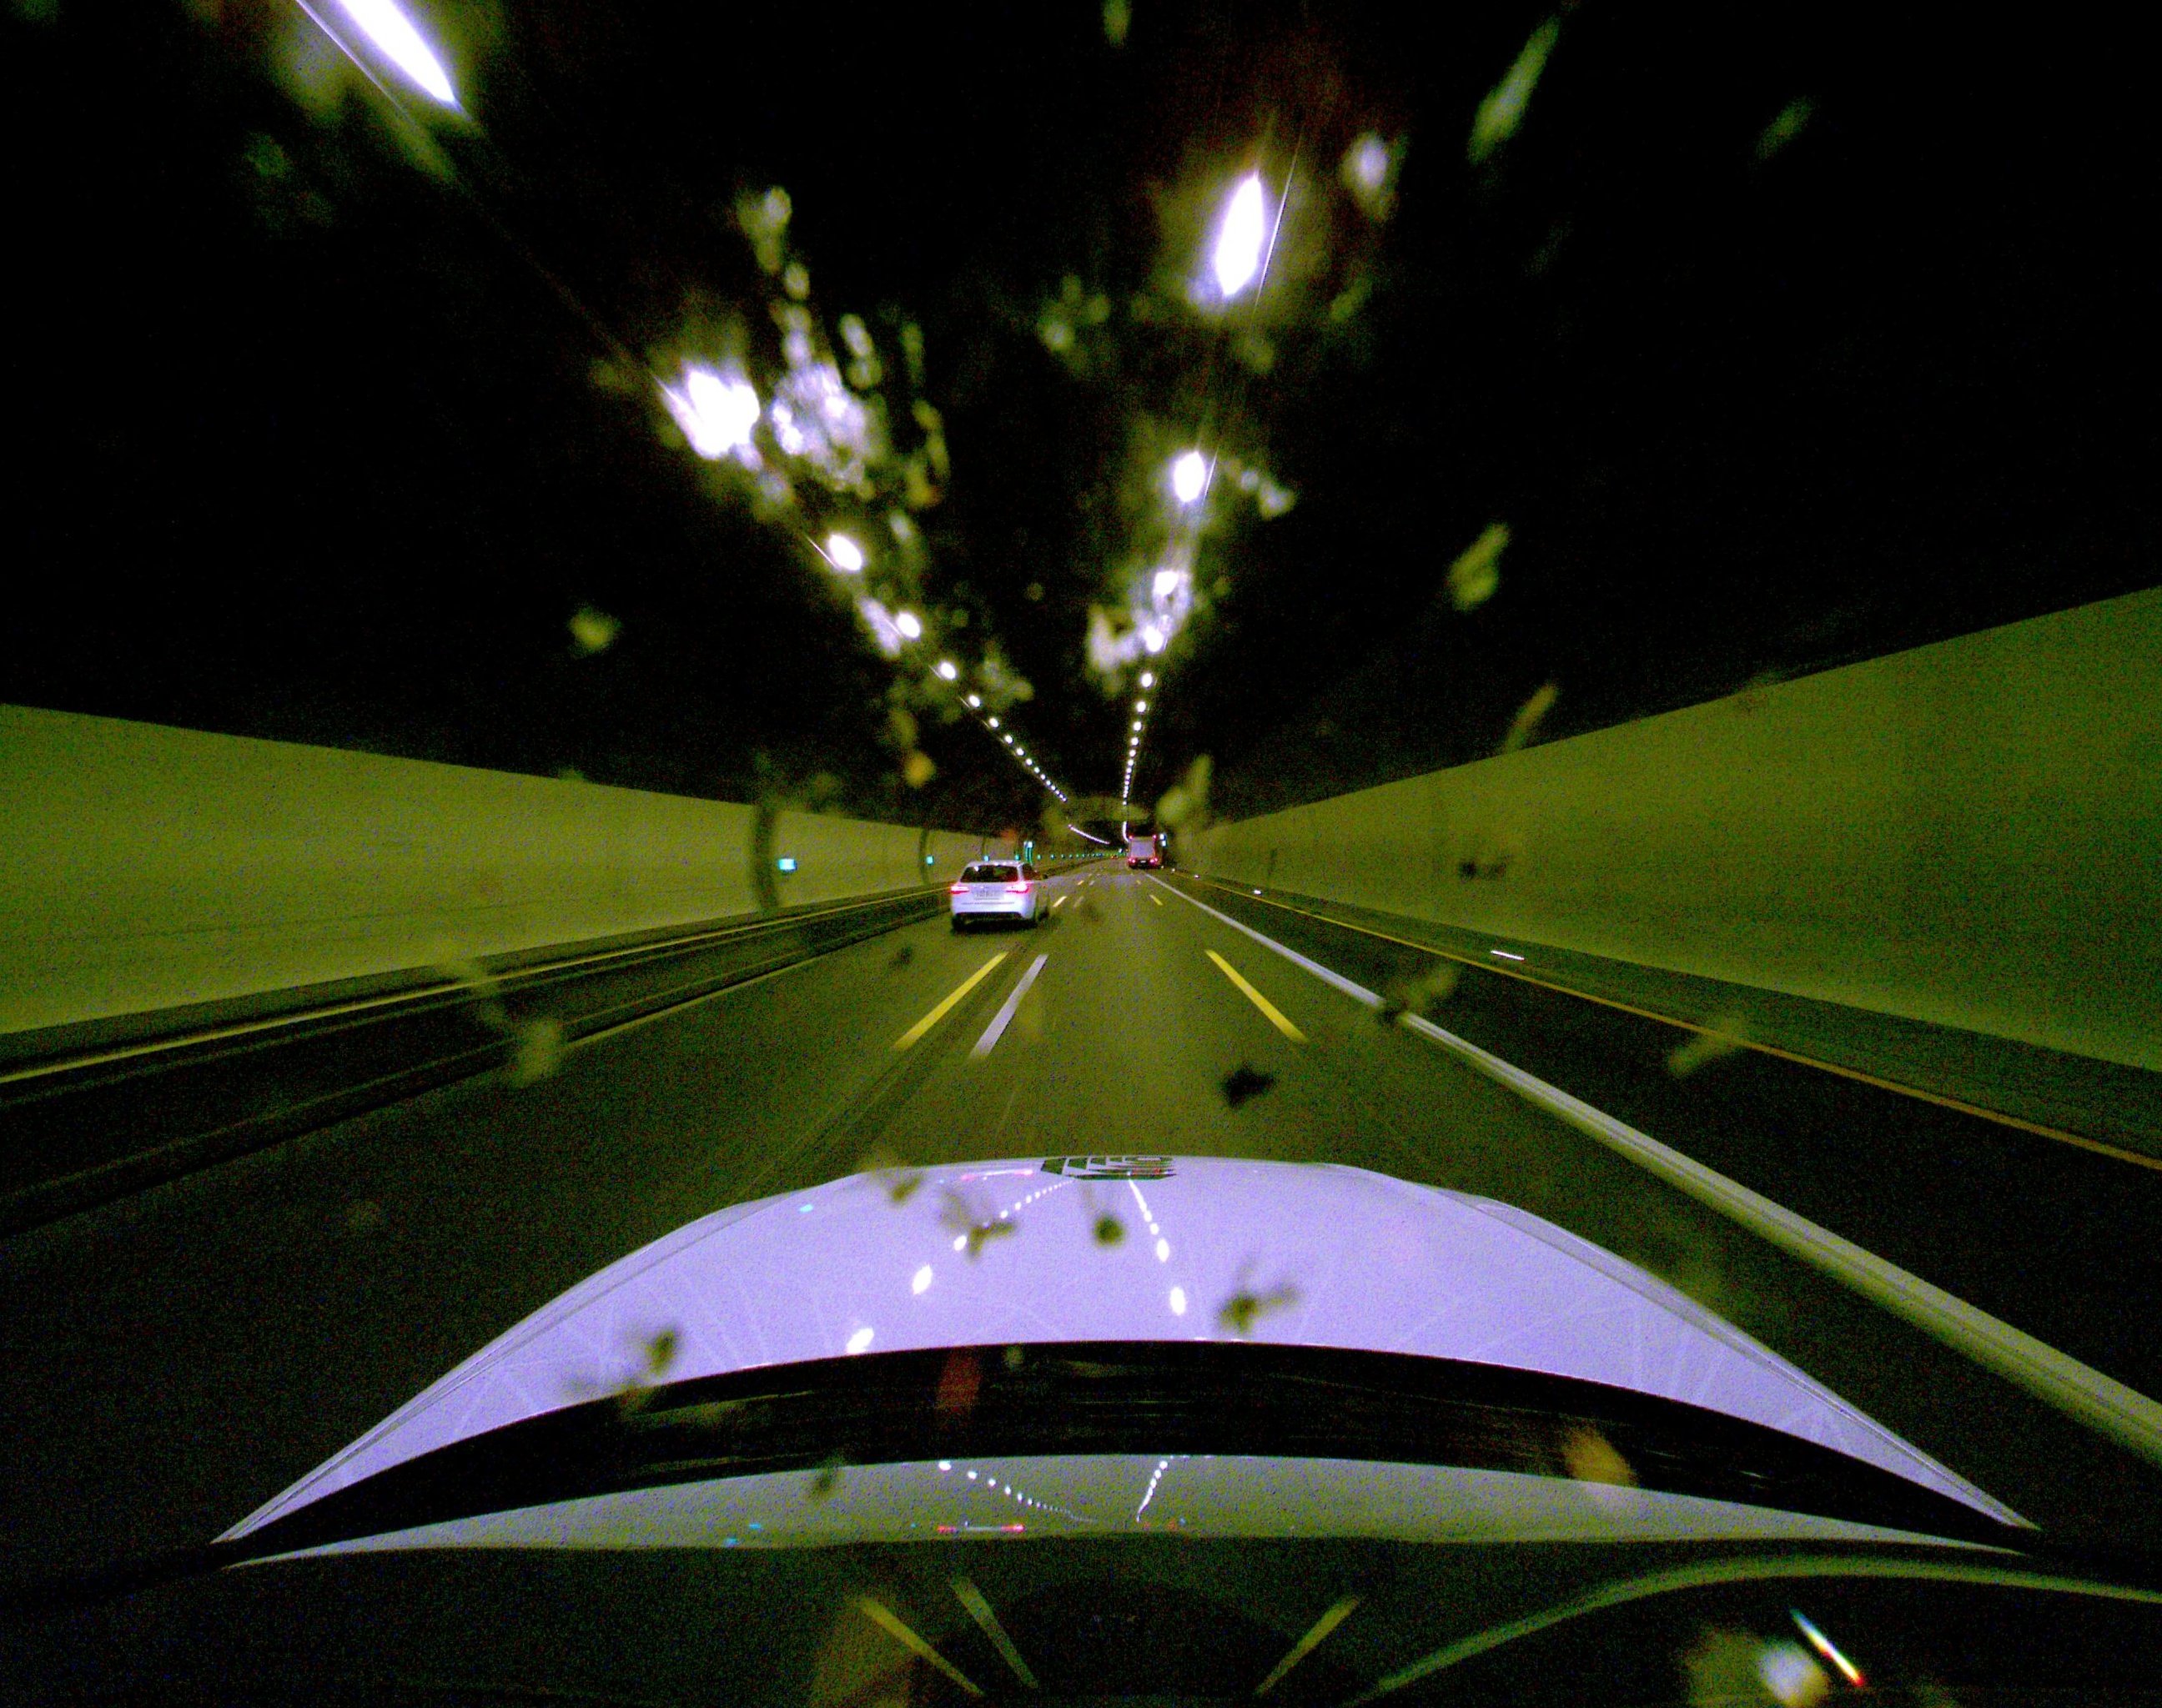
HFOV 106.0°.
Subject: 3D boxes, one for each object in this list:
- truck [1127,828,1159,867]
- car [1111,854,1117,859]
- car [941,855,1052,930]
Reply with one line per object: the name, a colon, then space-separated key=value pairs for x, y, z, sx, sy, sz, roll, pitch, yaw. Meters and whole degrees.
truck: x=6.679 y=-0.648 z=89.461 sx=3.079 sy=3.918 sz=10.373 roll=-2 pitch=-1 yaw=2
car: x=9.798 y=0.798 z=241.645 sx=1.752 sy=1.461 sz=4.121 roll=-2 pitch=1 yaw=3
car: x=-1.766 y=0.787 z=18.717 sx=1.896 sy=1.485 sz=4.945 roll=0 pitch=0 yaw=1
